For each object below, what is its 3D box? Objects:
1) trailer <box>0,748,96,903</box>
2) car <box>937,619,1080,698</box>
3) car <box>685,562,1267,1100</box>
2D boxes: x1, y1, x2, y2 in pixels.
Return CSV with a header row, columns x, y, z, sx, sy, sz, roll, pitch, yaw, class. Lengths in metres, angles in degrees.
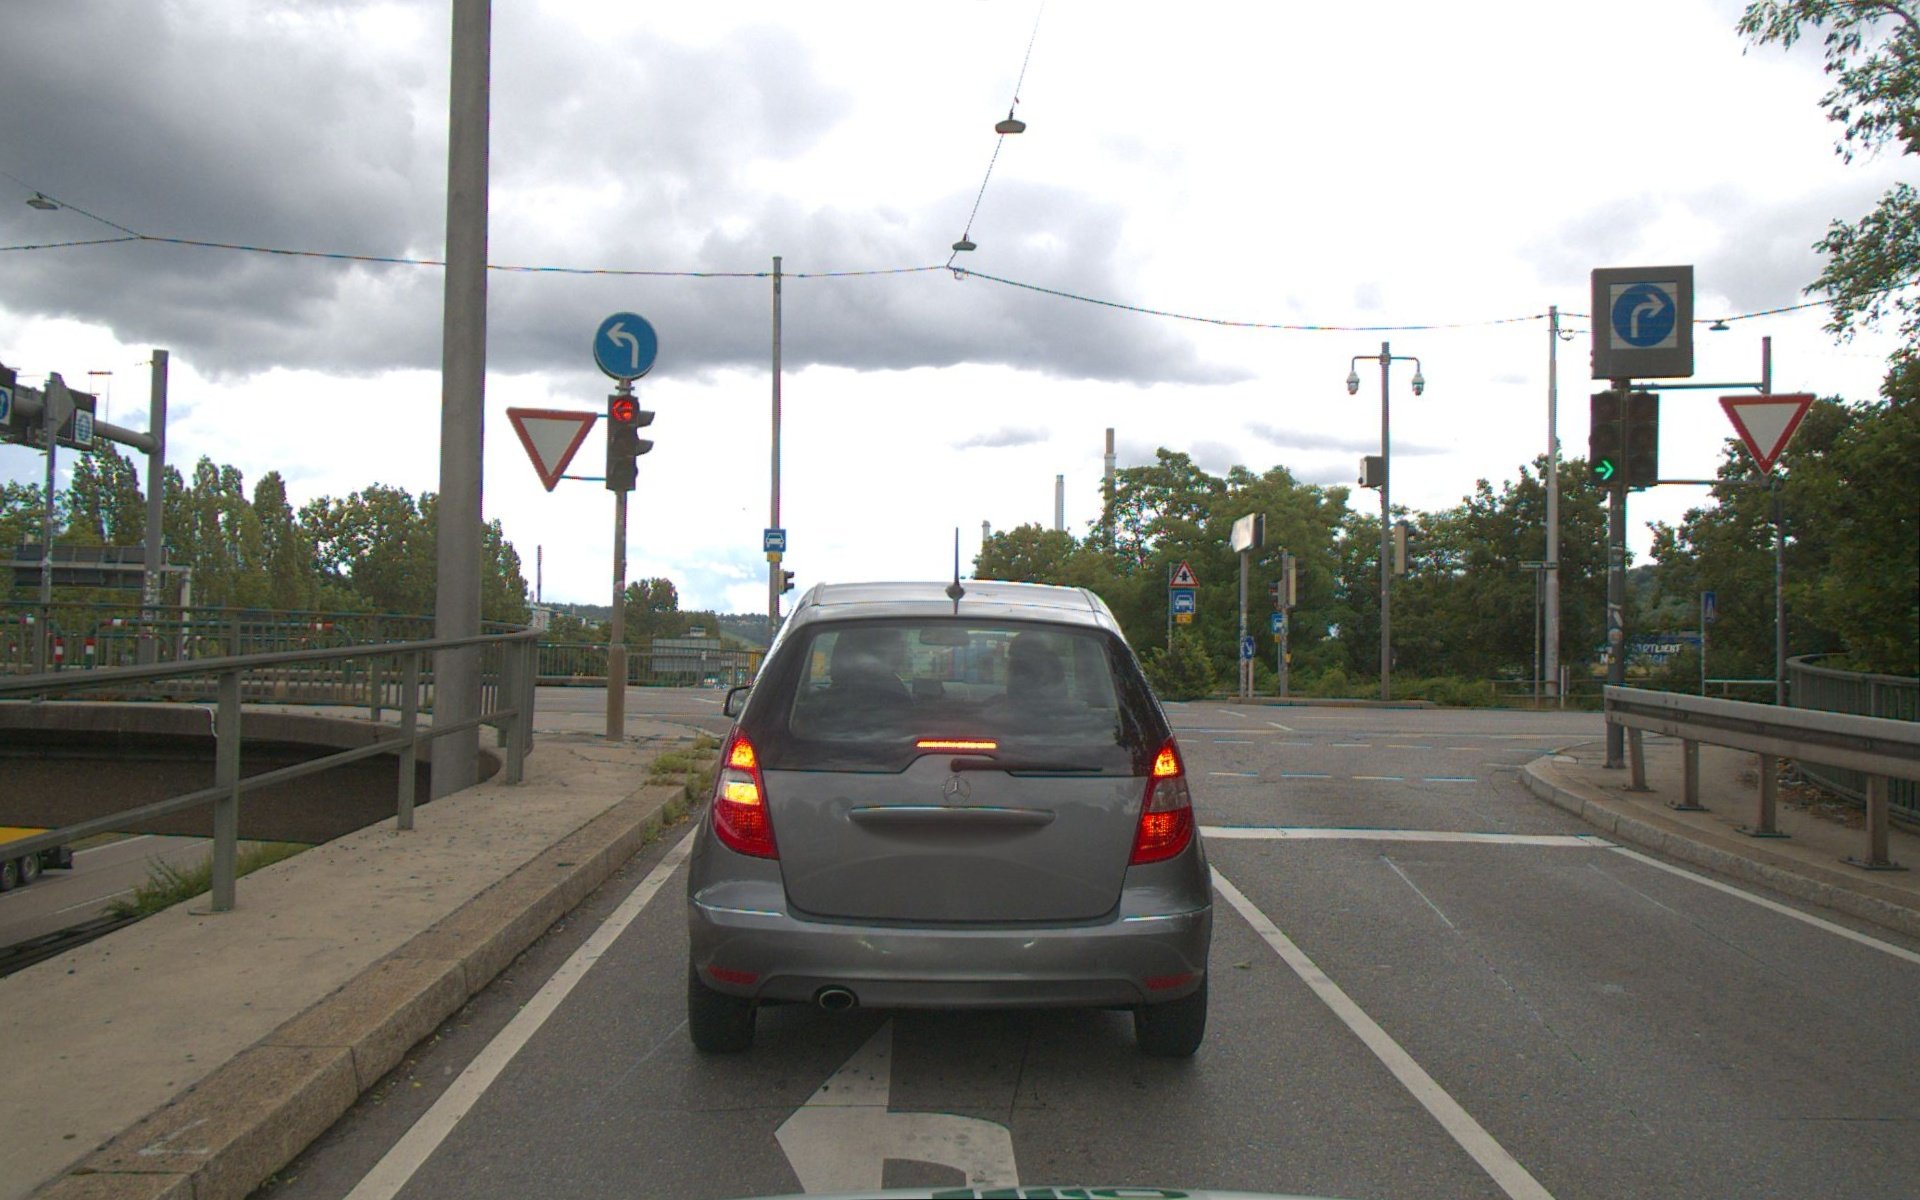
x,y,z,sx,sy,sz,roll,pitch,yaw,class
-30.150,6.828,48.258,3.176,4.337,13.670,-1,-3,-2,trailer
1.638,2.160,60.609,2.405,2.728,7.711,1,-2,-22,car
0.031,0.693,6.673,1.704,1.570,3.540,1,0,-1,car
